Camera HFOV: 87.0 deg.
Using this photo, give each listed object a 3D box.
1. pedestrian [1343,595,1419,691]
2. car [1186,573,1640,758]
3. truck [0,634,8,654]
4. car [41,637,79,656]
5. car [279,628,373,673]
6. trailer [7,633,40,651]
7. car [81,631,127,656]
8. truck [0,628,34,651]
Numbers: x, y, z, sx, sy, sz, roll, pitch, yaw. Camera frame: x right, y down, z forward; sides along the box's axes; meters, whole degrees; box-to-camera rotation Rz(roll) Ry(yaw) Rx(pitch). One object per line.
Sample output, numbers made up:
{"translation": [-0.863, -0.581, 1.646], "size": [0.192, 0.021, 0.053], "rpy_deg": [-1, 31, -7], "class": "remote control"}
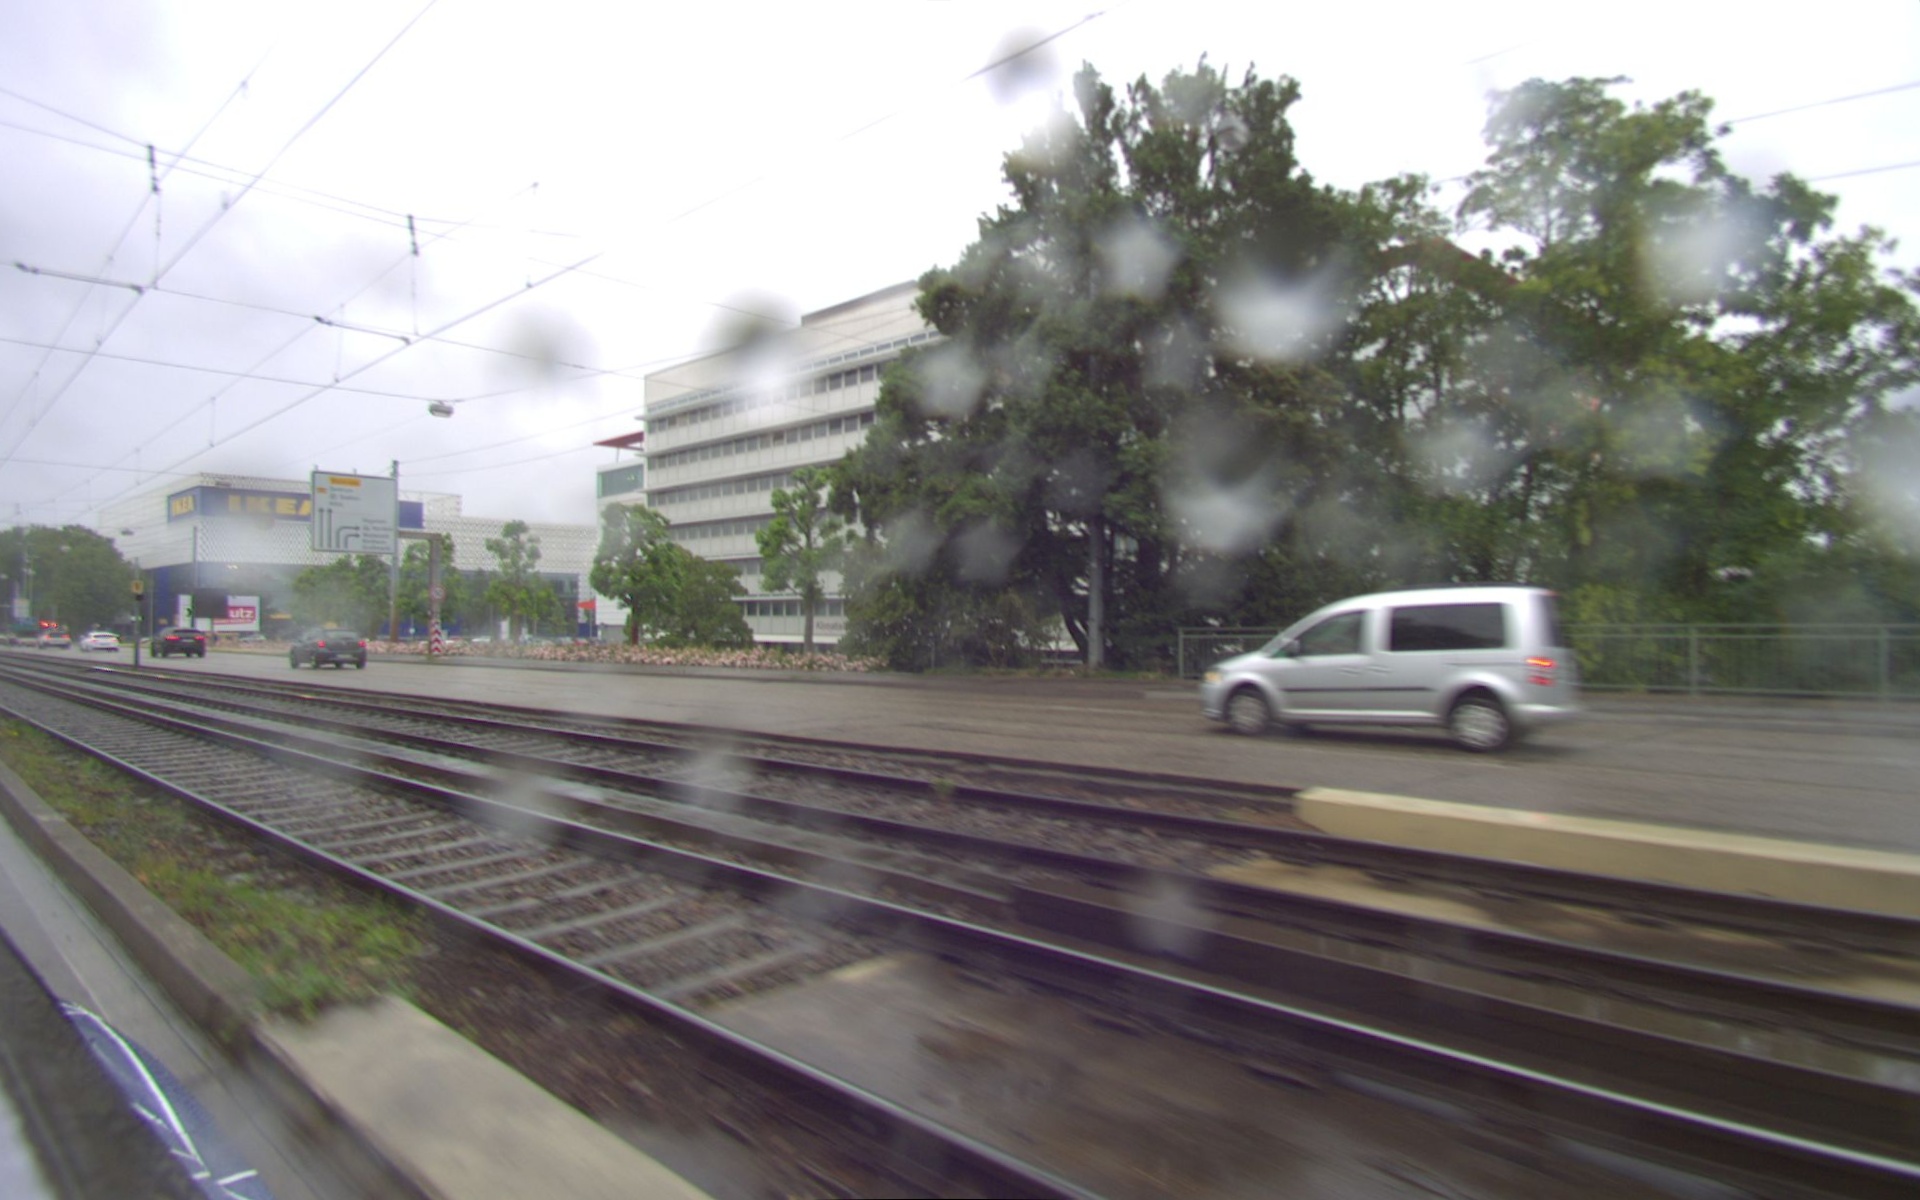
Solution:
{"translation": [8.085, 0.823, 19.453], "size": [1.120, 1.772, 0.842], "rpy_deg": [-2, -3, 41], "class": "pedestrian"}
{"translation": [5.329, 0.718, 12.310], "size": [4.656, 1.829, 1.973], "rpy_deg": [-2, -2, 41], "class": "car"}
{"translation": [-124.228, 5.601, 130.001], "size": [6.065, 2.480, 2.203], "rpy_deg": [-2, -4, 42], "class": "truck"}
{"translation": [-78.163, 4.062, 87.848], "size": [4.765, 1.595, 1.972], "rpy_deg": [-2, -3, 43], "class": "car"}
{"translation": [-24.014, 1.875, 38.280], "size": [4.253, 1.630, 1.972], "rpy_deg": [-2, -2, 43], "class": "car"}
{"translation": [-98.216, 4.394, 106.125], "size": [3.834, 1.806, 2.097], "rpy_deg": [-2, 0, 41], "class": "trailer"}
{"translation": [-60.505, 3.055, 71.542], "size": [4.686, 1.695, 1.753], "rpy_deg": [-2, -2, 41], "class": "car"}
{"translation": [-102.639, 4.284, 109.841], "size": [7.218, 2.476, 2.408], "rpy_deg": [-2, -3, 43], "class": "truck"}
